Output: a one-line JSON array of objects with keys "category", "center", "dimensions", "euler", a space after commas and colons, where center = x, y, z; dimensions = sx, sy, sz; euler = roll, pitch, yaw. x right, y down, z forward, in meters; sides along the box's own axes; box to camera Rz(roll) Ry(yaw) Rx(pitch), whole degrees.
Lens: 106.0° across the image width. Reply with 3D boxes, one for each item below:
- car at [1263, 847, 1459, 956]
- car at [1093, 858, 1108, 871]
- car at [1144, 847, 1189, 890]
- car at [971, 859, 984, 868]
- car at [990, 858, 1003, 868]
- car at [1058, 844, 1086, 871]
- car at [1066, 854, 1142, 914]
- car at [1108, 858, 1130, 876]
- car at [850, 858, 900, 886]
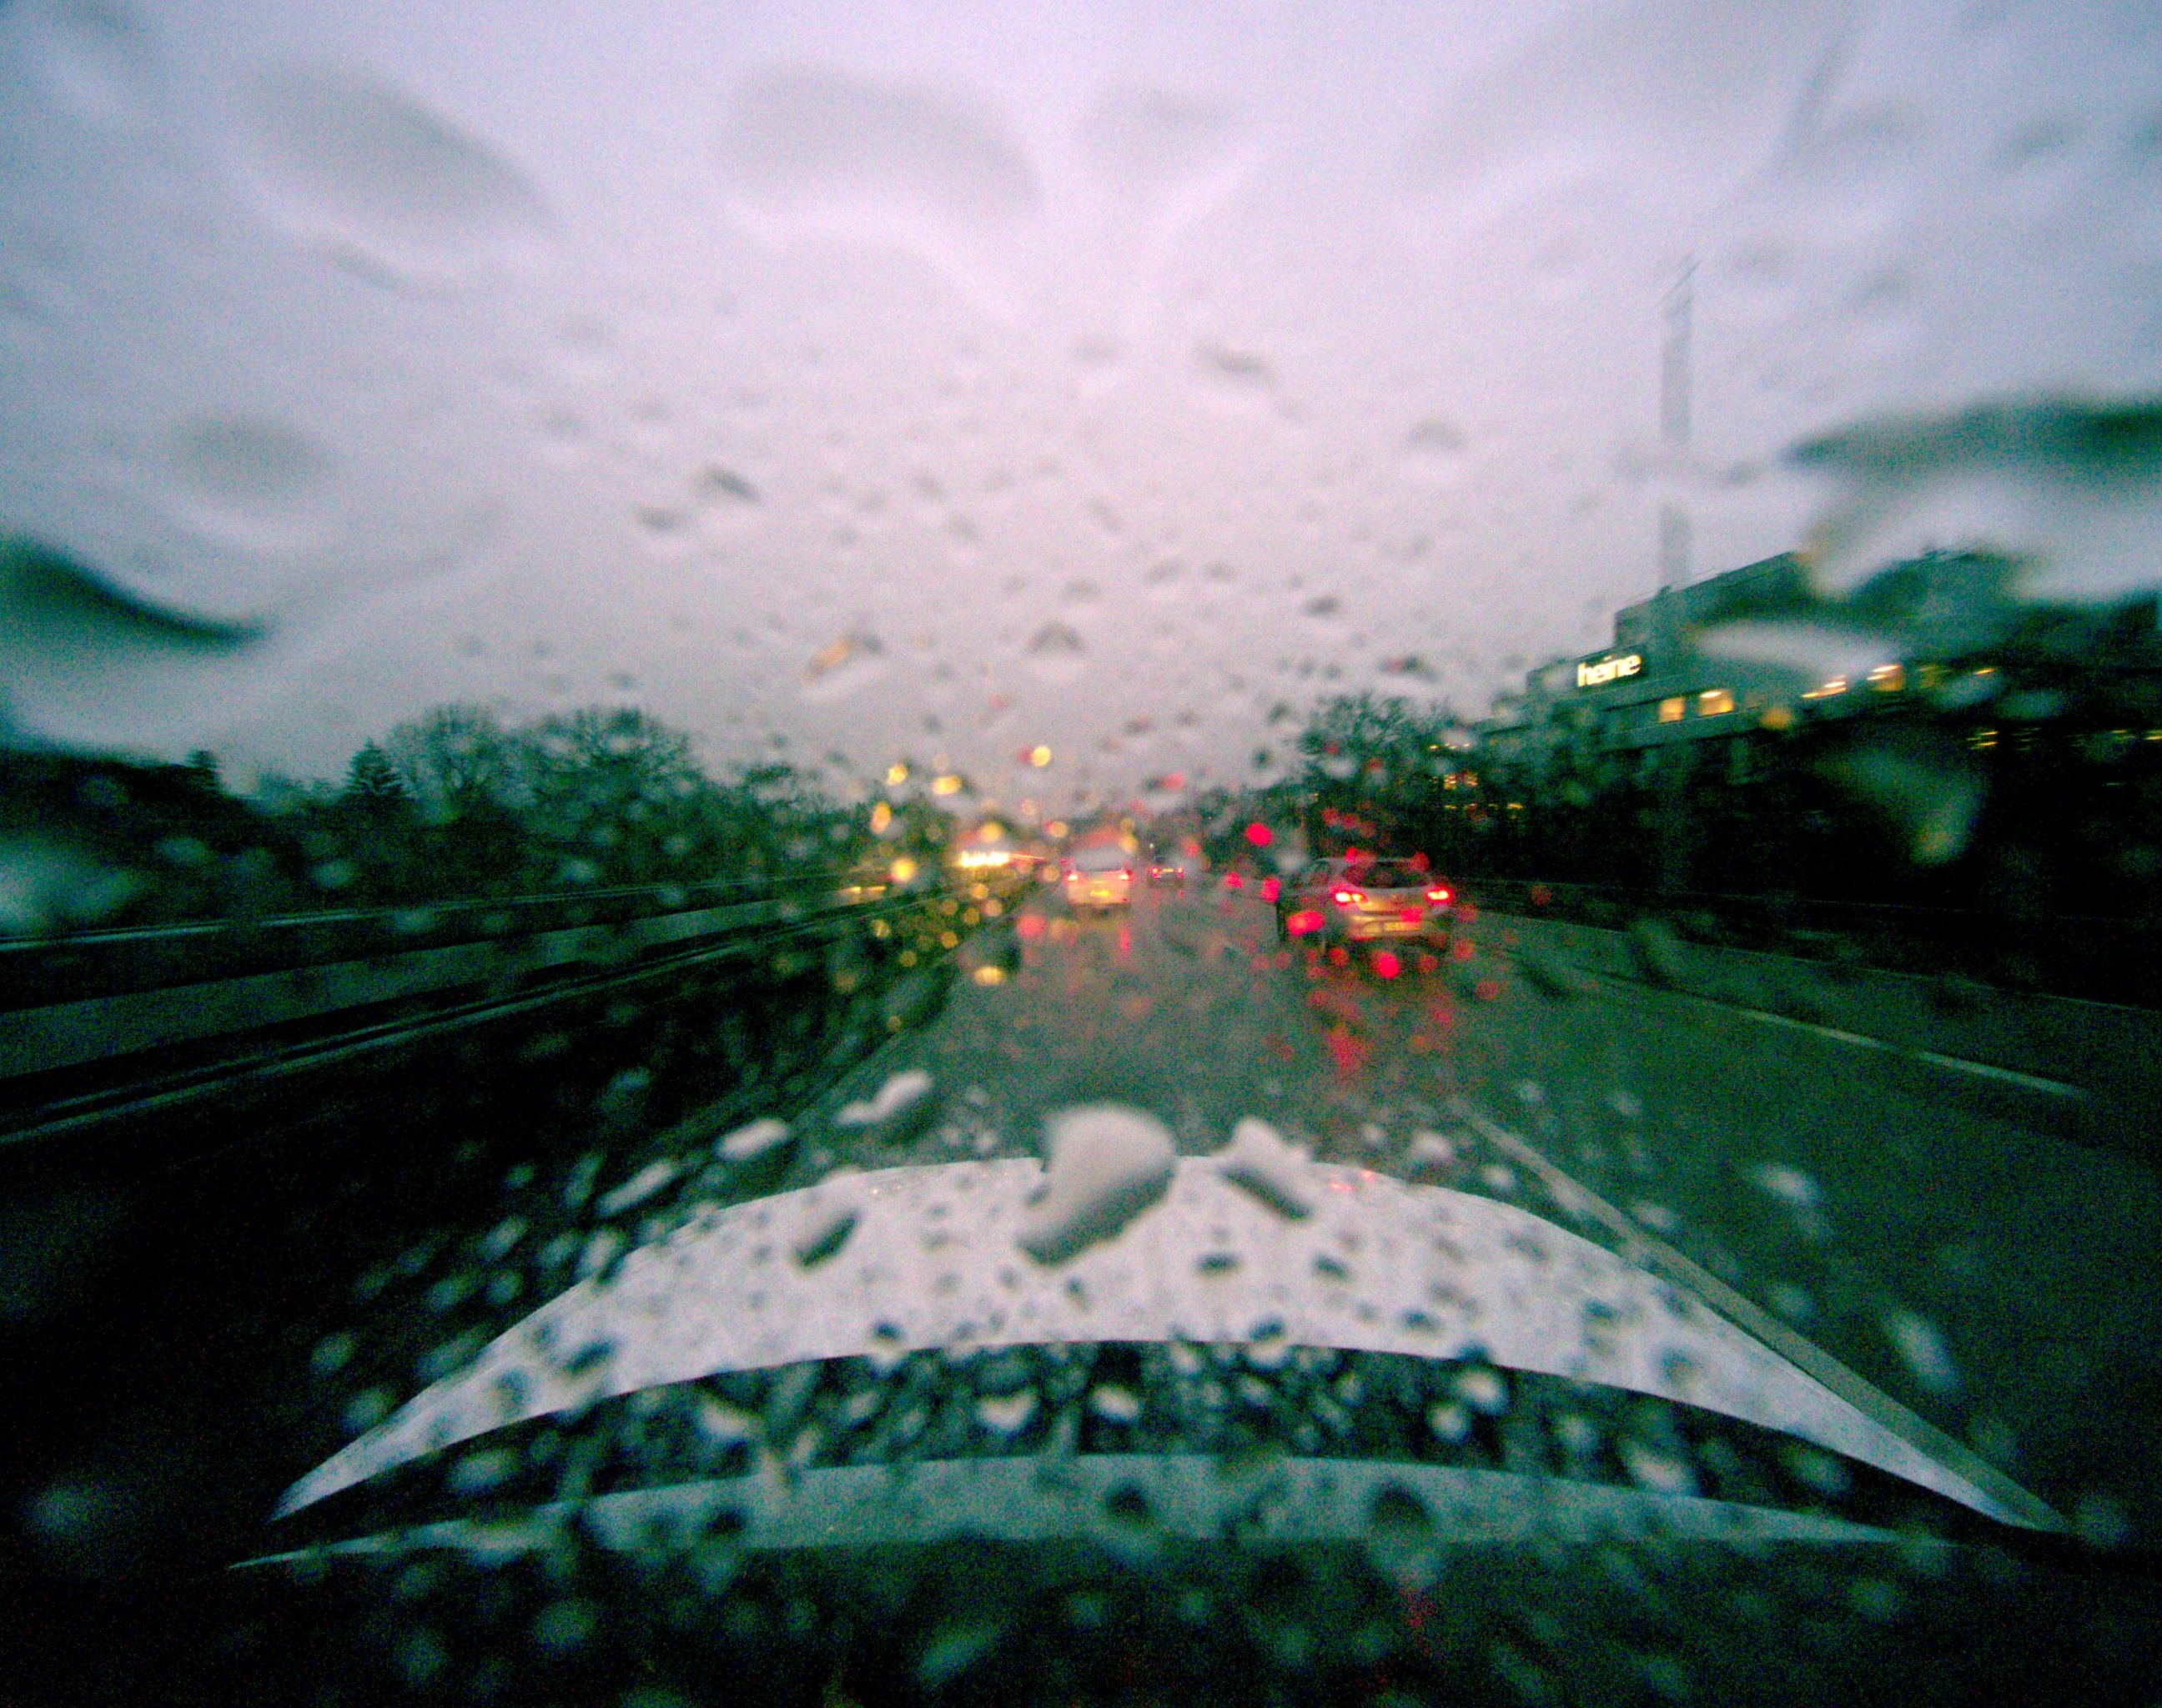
[{"category": "car", "center": [4.378, 0.672, 13.484], "dimensions": [1.843, 1.501, 4.263], "euler": [-1, 0, 1]}, {"category": "car", "center": [2.560, 1.345, 106.407], "dimensions": [1.926, 1.546, 3.773], "euler": [-1, 0, 1]}, {"category": "car", "center": [4.214, 0.716, 40.616], "dimensions": [1.925, 2.019, 3.775], "euler": [-1, 0, 2]}, {"category": "car", "center": [-18.115, 1.648, 142.783], "dimensions": [1.832, 1.556, 4.353], "euler": [-1, 0, -1]}, {"category": "car", "center": [-14.062, 1.522, 136.091], "dimensions": [1.832, 1.556, 4.352], "euler": [-1, 0, -2]}, {"category": "car", "center": [-0.724, 0.270, 62.190], "dimensions": [1.989, 2.014, 3.995], "euler": [-1, 0, -3]}, {"category": "car", "center": [0.608, 0.814, 23.698], "dimensions": [2.018, 1.575, 3.999], "euler": [-1, 0, -1]}, {"category": "car", "center": [3.855, 1.307, 83.057], "dimensions": [1.927, 1.546, 3.772], "euler": [-7, -1, 0]}, {"category": "car", "center": [-10.866, 0.919, 43.280], "dimensions": [1.691, 1.441, 3.681], "euler": [-1, 0, 0]}]
